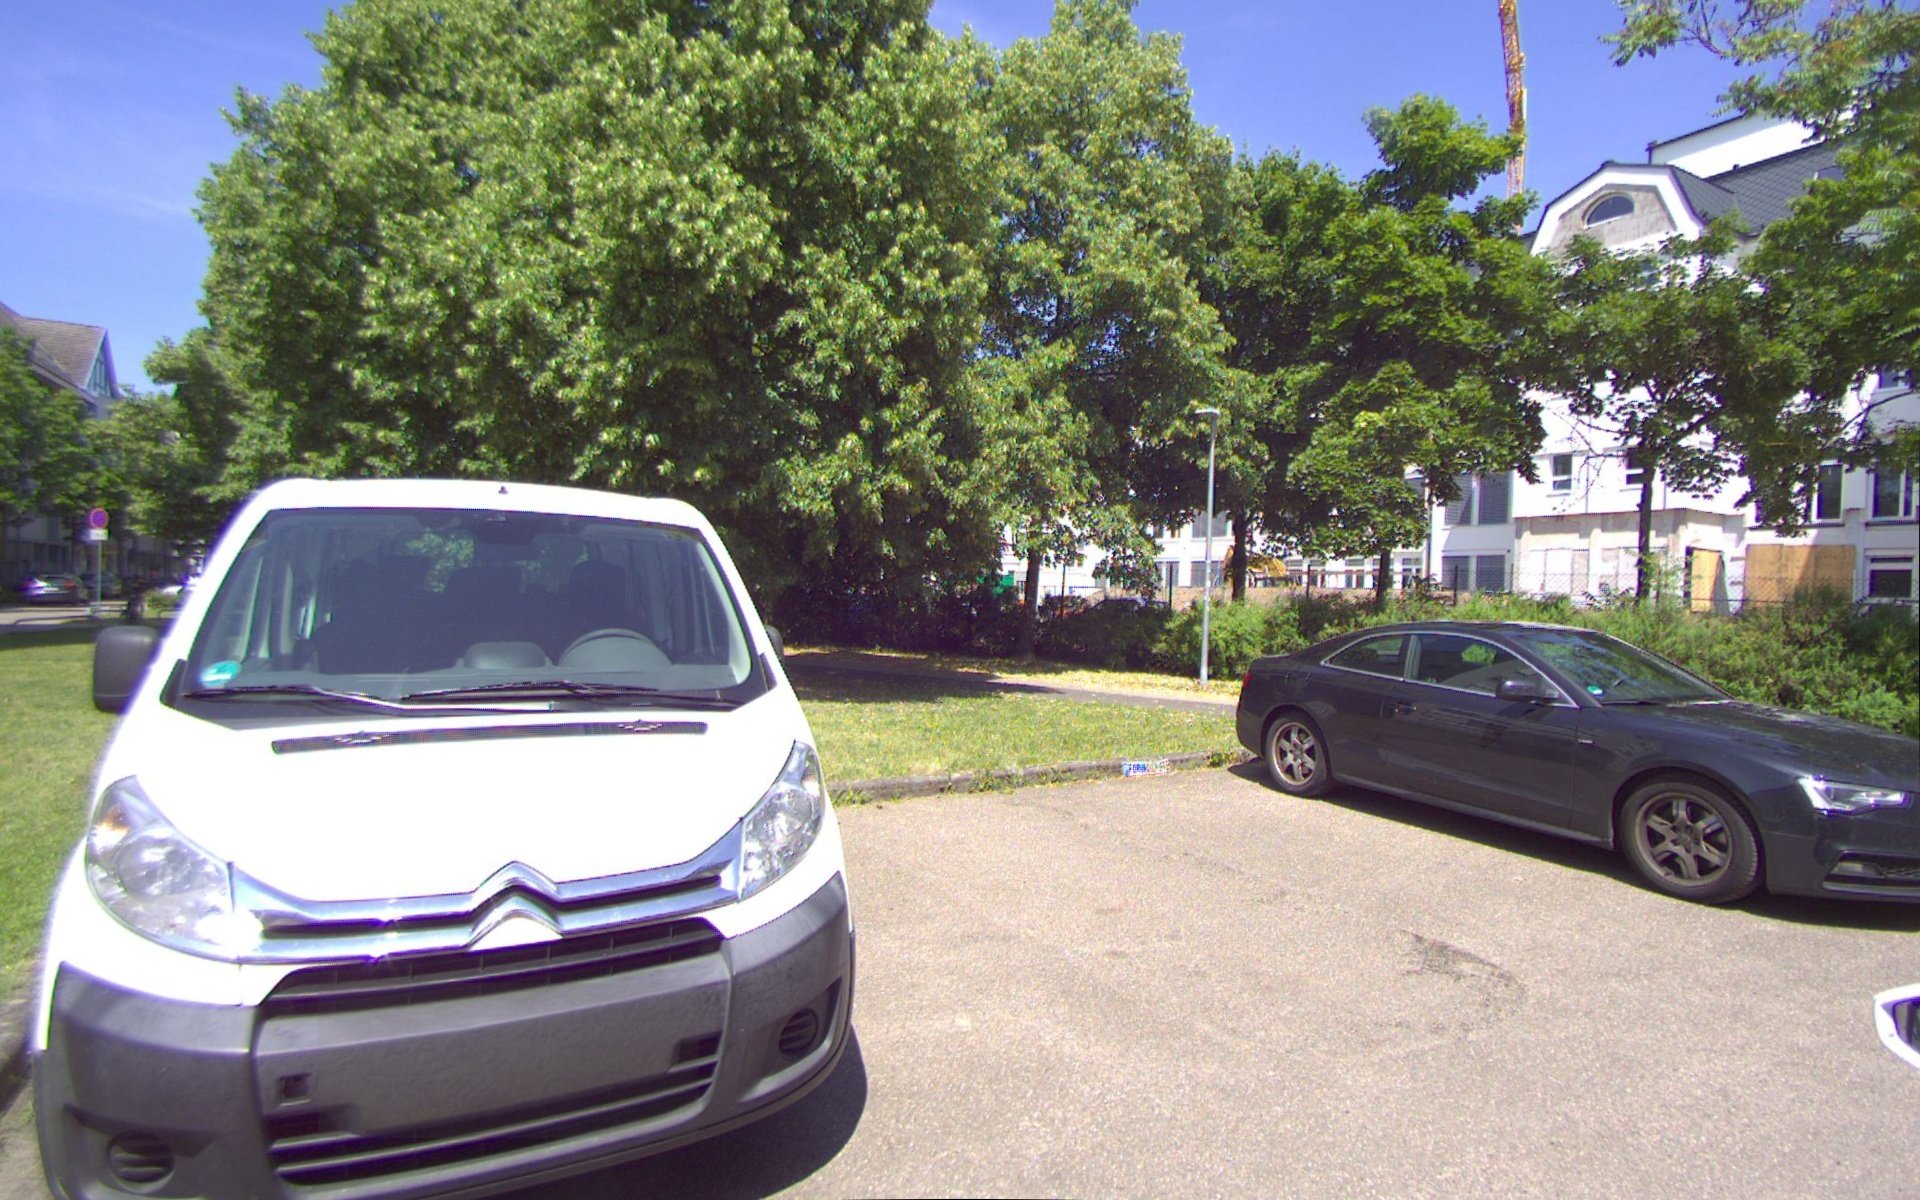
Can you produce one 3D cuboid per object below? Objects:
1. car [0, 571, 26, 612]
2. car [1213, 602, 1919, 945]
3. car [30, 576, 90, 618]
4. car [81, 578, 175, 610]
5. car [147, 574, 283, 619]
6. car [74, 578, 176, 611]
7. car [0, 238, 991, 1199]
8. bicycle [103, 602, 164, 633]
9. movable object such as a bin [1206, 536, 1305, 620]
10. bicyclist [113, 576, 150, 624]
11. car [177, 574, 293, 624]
[{"bbox_3d":[-40.621,-0.400,42.299,1.796,1.624,3.844,3,0,-43],"label":"car"},{"bbox_3d":[3.959,0.790,6.729,1.997,1.398,4.414,3,0,-26],"label":"car"},{"bbox_3d":[-38.403,-0.135,42.838,1.796,1.624,3.844,3,0,-43],"label":"car"},{"bbox_3d":[-46.820,-0.329,56.613,3.851,1.652,1.522,3,0,-31],"label":"car"},{"bbox_3d":[-30.790,-0.129,41.703,4.292,1.631,1.917,3,0,-31],"label":"car"},{"bbox_3d":[-45.113,-0.287,54.384,3.955,1.550,1.731,3,0,-31],"label":"car"},{"bbox_3d":[-1.929,0.376,4.140,2.041,1.908,4.831,3,0,-26],"label":"car"},{"bbox_3d":[-18.586,0.383,22.619,0.725,0.650,1.605,-1,1,-27],"label":"bicycle"},{"bbox_3d":[16.469,-1.192,56.317,1.973,4.430,5.688,2,0,-25],"label":"movable object such as a bin"},{"bbox_3d":[-18.479,-0.011,22.415,0.511,1.059,0.519,-1,1,-27],"label":"bicyclist"},{"bbox_3d":[-32.430,-0.029,45.086,3.955,2.040,1.983,3,0,-31],"label":"car"}]
